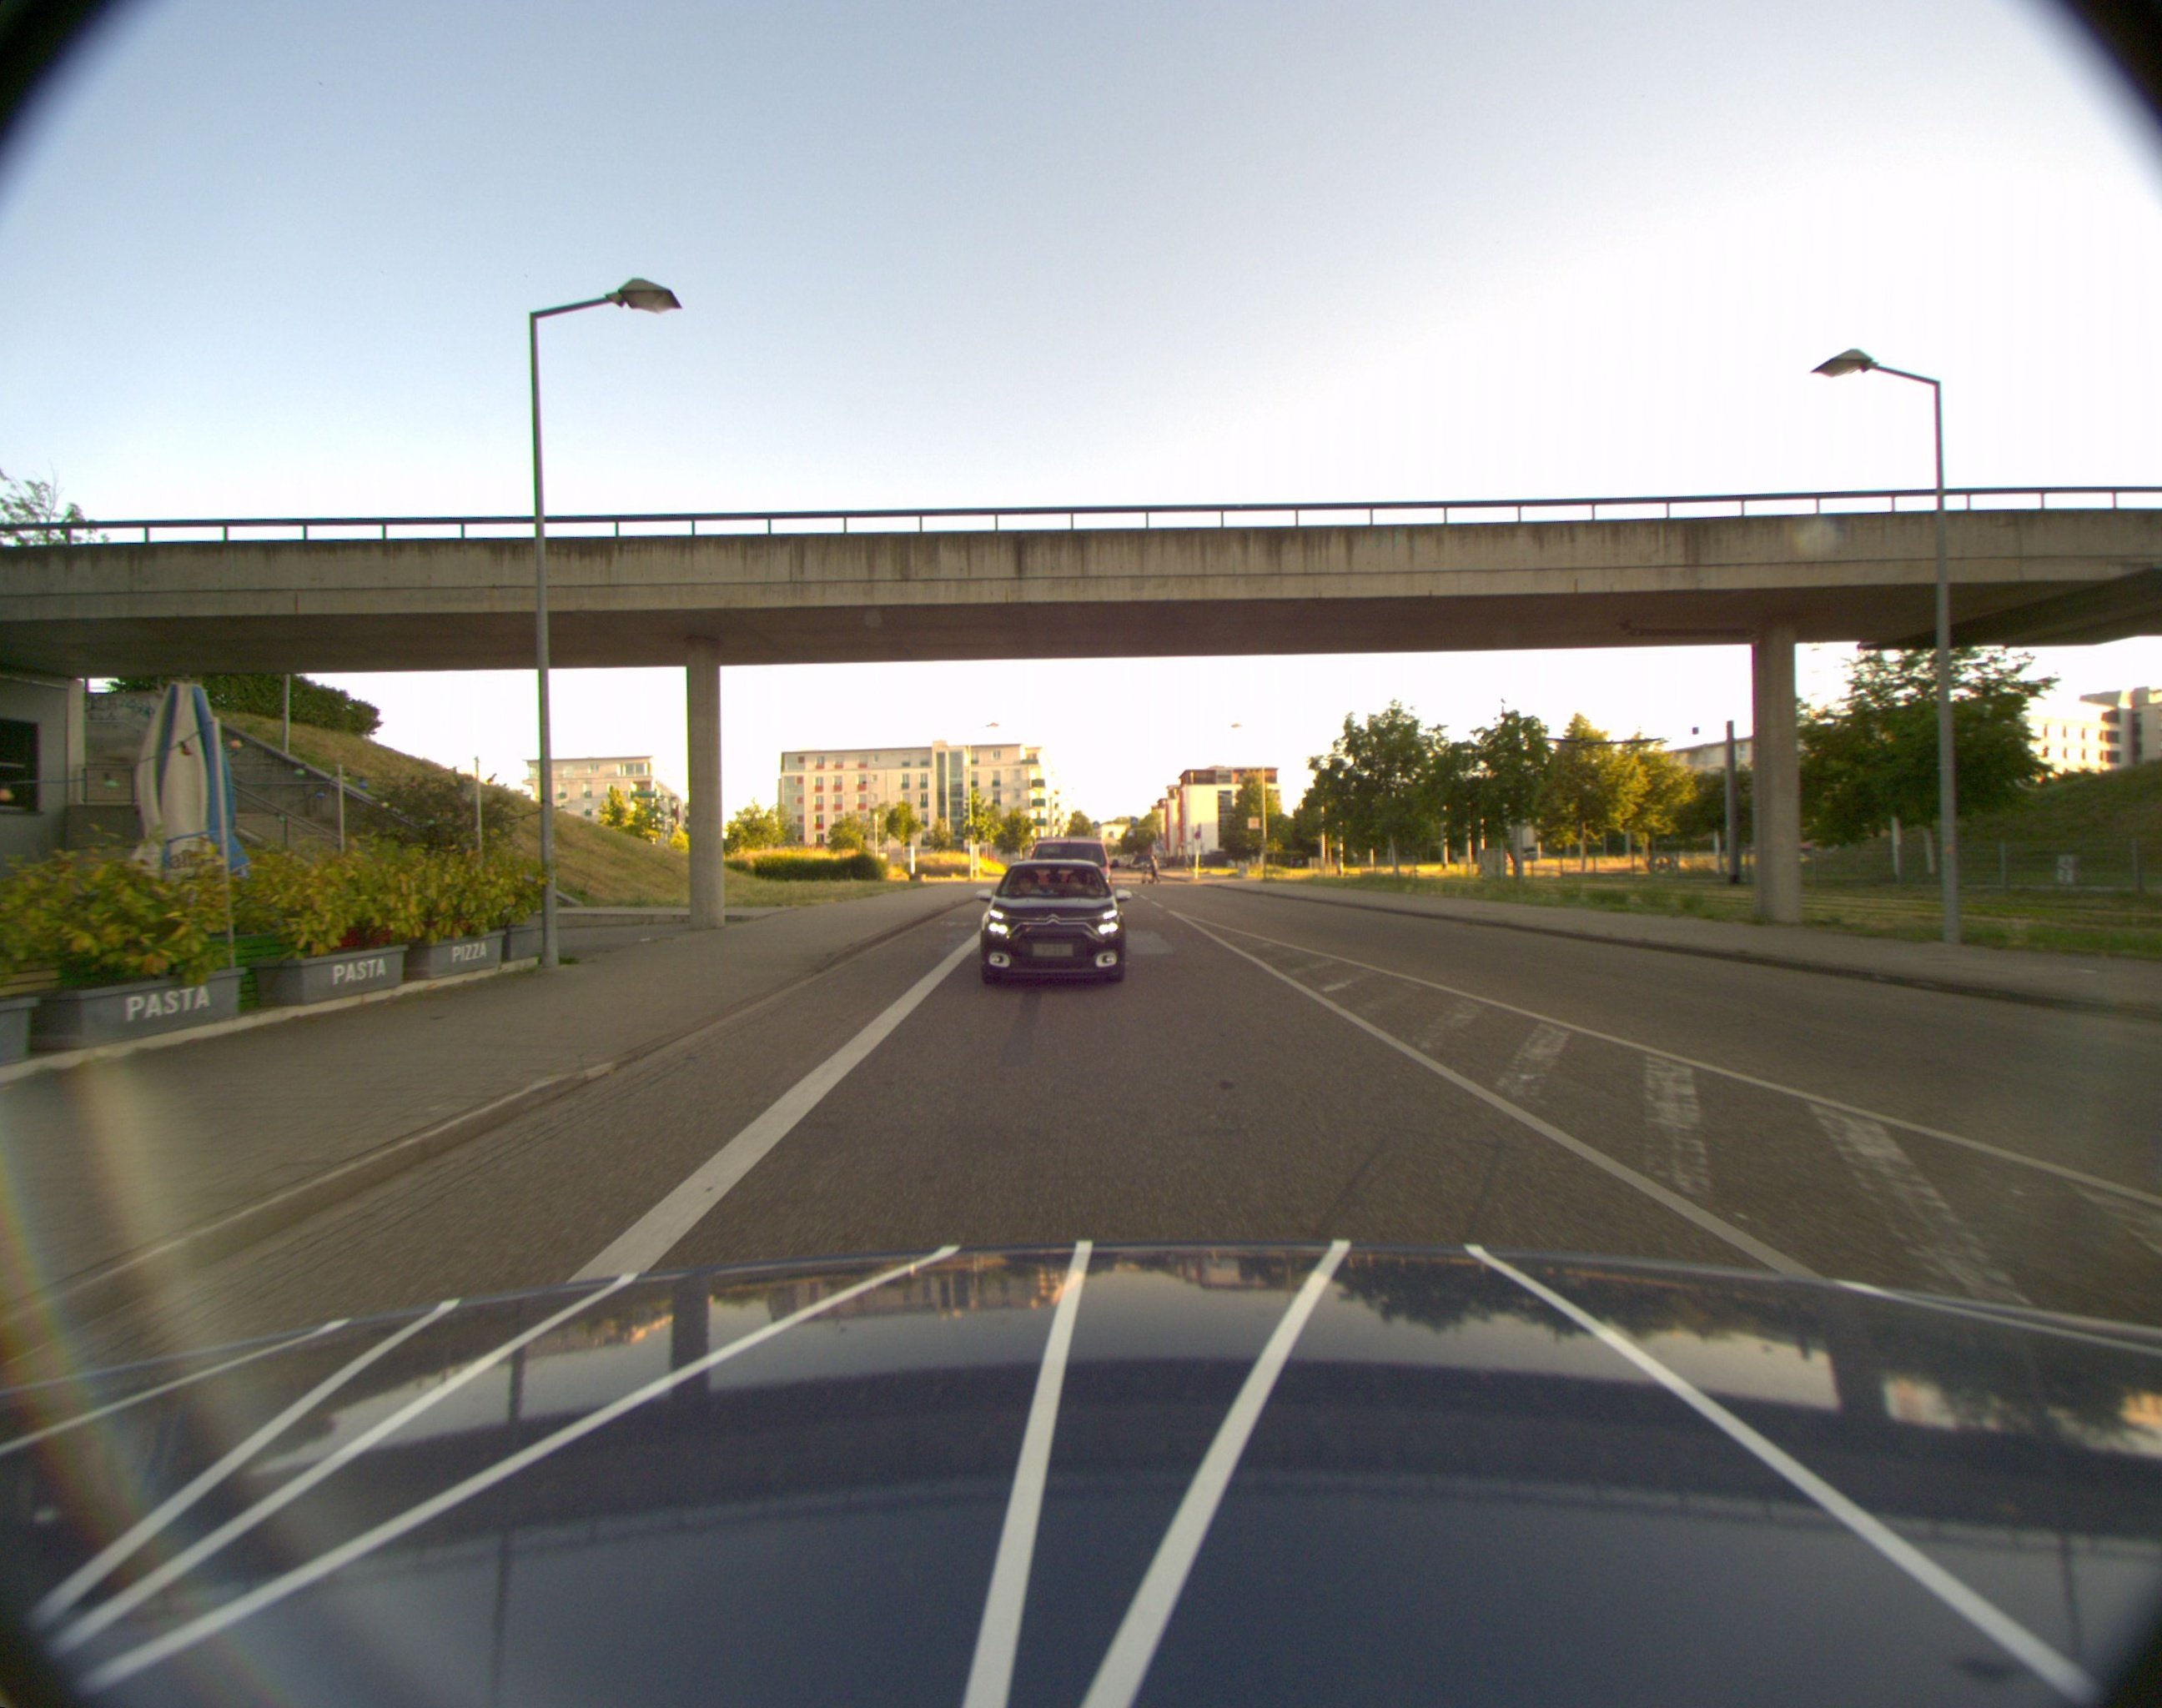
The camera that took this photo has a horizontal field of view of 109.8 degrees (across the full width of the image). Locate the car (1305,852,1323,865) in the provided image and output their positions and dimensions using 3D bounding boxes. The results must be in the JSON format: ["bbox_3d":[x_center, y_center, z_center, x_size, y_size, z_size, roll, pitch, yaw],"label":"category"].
[{"bbox_3d":[31.096,0.618,101.522,1.869,1.710,3.848,-1,0,9],"label":"car"}]

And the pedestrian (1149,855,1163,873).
[{"bbox_3d":[8.544,1.102,86.639,1.088,2.002,1.141,-1,1,29],"label":"pedestrian"}]

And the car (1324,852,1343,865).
[{"bbox_3d":[33.608,0.557,101.248,1.869,1.710,3.848,-1,0,12],"label":"car"}]

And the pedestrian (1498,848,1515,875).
[{"bbox_3d":[25.347,0.464,45.278,0.779,1.602,0.417,-1,0,12],"label":"pedestrian"}]

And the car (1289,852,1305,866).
[{"bbox_3d":[28.932,0.675,101.846,1.869,1.710,3.848,-1,0,12],"label":"car"}]

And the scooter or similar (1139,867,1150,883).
[{"bbox_3d":[3.781,1.259,45.198,0.552,0.890,0.723,0,1,16],"label":"scooter or similar"}]

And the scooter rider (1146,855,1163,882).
[{"bbox_3d":[4.356,0.878,45.019,0.897,1.568,0.712,-1,0,16],"label":"scooter rider"}]

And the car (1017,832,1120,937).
[{"bbox_3d":[-0.256,0.610,17.181,1.931,1.979,4.822,-2,0,-1],"label":"car"}]

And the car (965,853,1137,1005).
[{"bbox_3d":[-0.361,0.788,9.966,1.760,1.543,4.071,-1,0,-2],"label":"car"}]

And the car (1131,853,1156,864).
[{"bbox_3d":[12.241,0.887,148.855,4.745,2.002,1.999,-1,1,-2],"label":"car"}]

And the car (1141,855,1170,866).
[{"bbox_3d":[11.567,0.996,118.670,4.387,1.550,1.839,-1,1,2],"label":"car"}]
